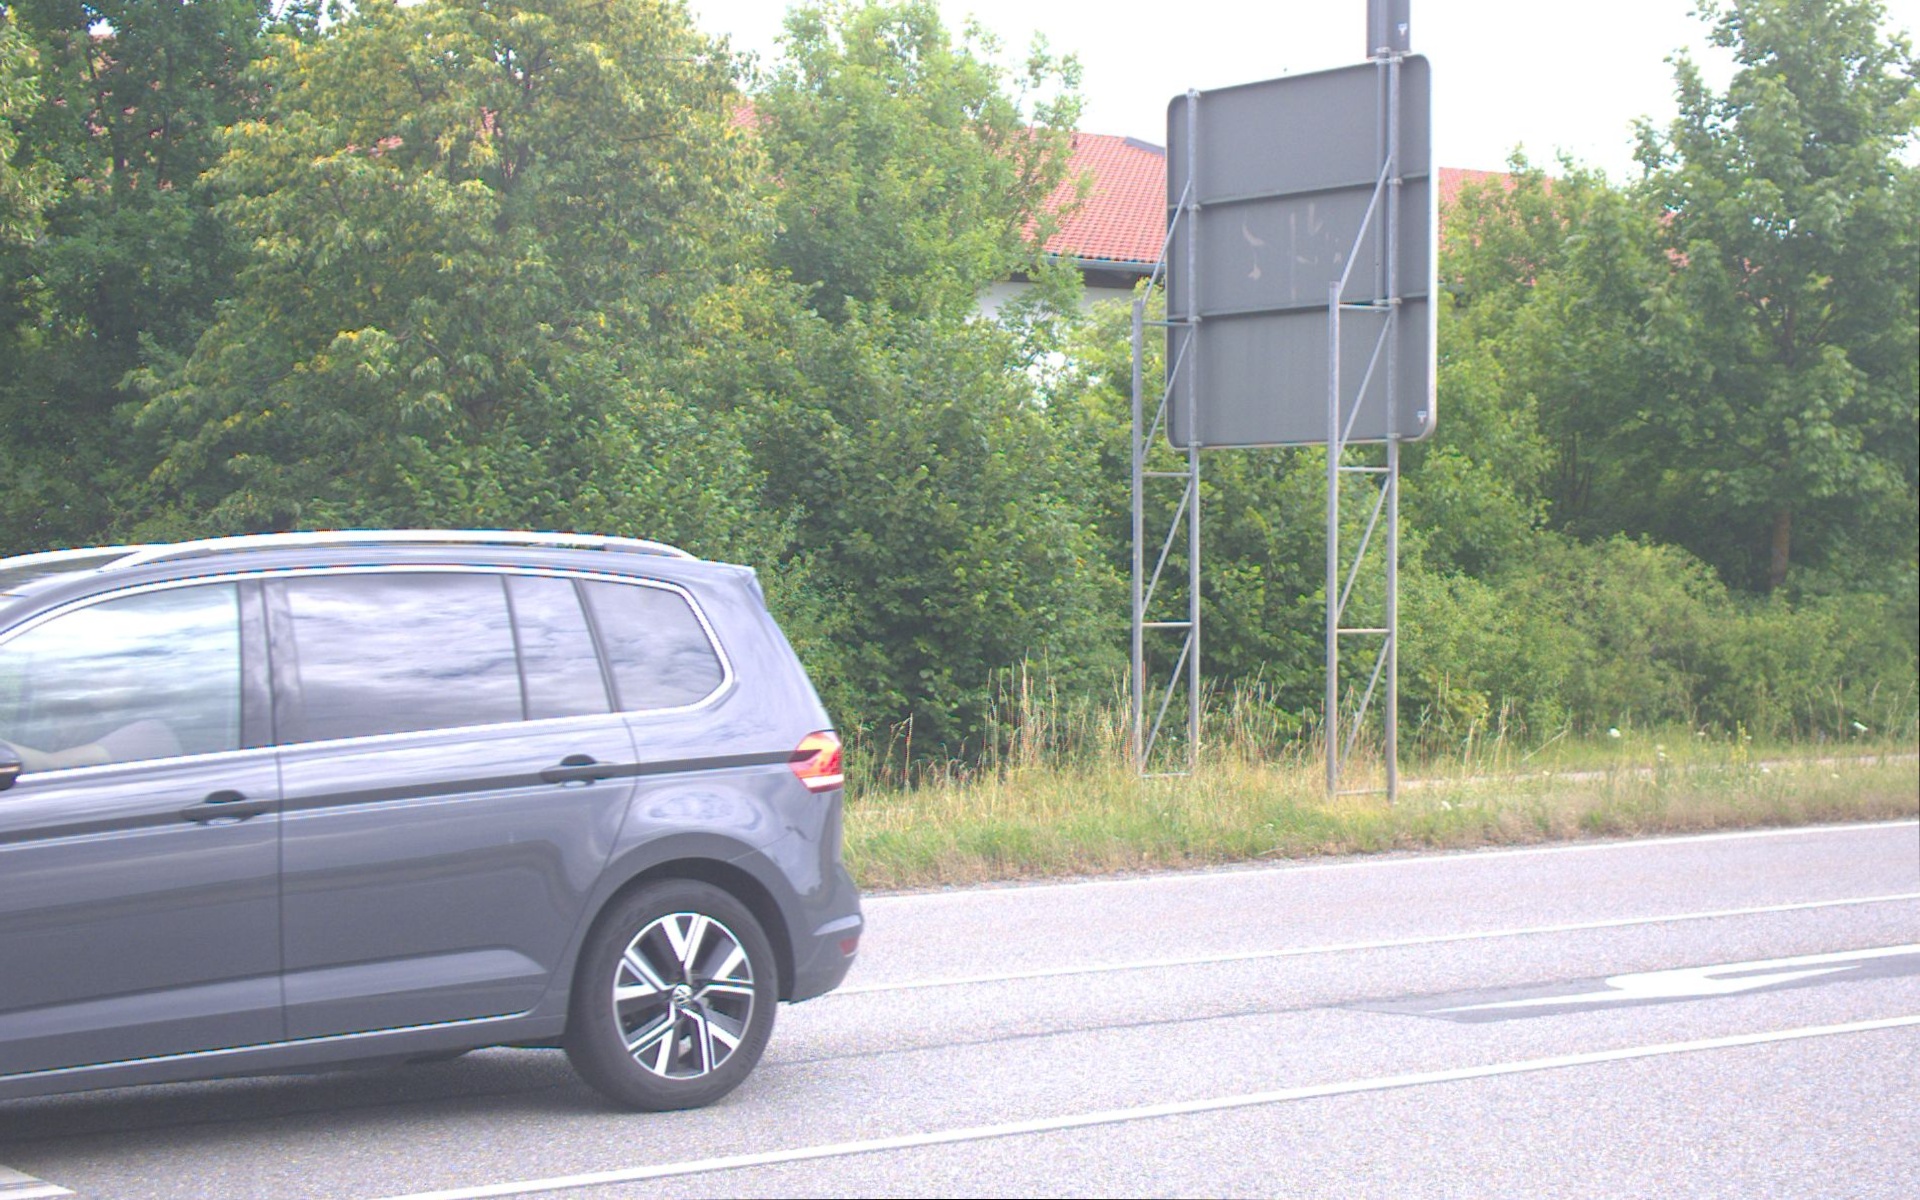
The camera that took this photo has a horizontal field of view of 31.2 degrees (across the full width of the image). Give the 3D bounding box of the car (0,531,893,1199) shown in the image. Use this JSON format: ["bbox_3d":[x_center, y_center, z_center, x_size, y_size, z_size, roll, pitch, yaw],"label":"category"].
[{"bbox_3d":[-2.441,0.658,9.477,4.277,1.652,1.753,-1,0,-37],"label":"car"}]
